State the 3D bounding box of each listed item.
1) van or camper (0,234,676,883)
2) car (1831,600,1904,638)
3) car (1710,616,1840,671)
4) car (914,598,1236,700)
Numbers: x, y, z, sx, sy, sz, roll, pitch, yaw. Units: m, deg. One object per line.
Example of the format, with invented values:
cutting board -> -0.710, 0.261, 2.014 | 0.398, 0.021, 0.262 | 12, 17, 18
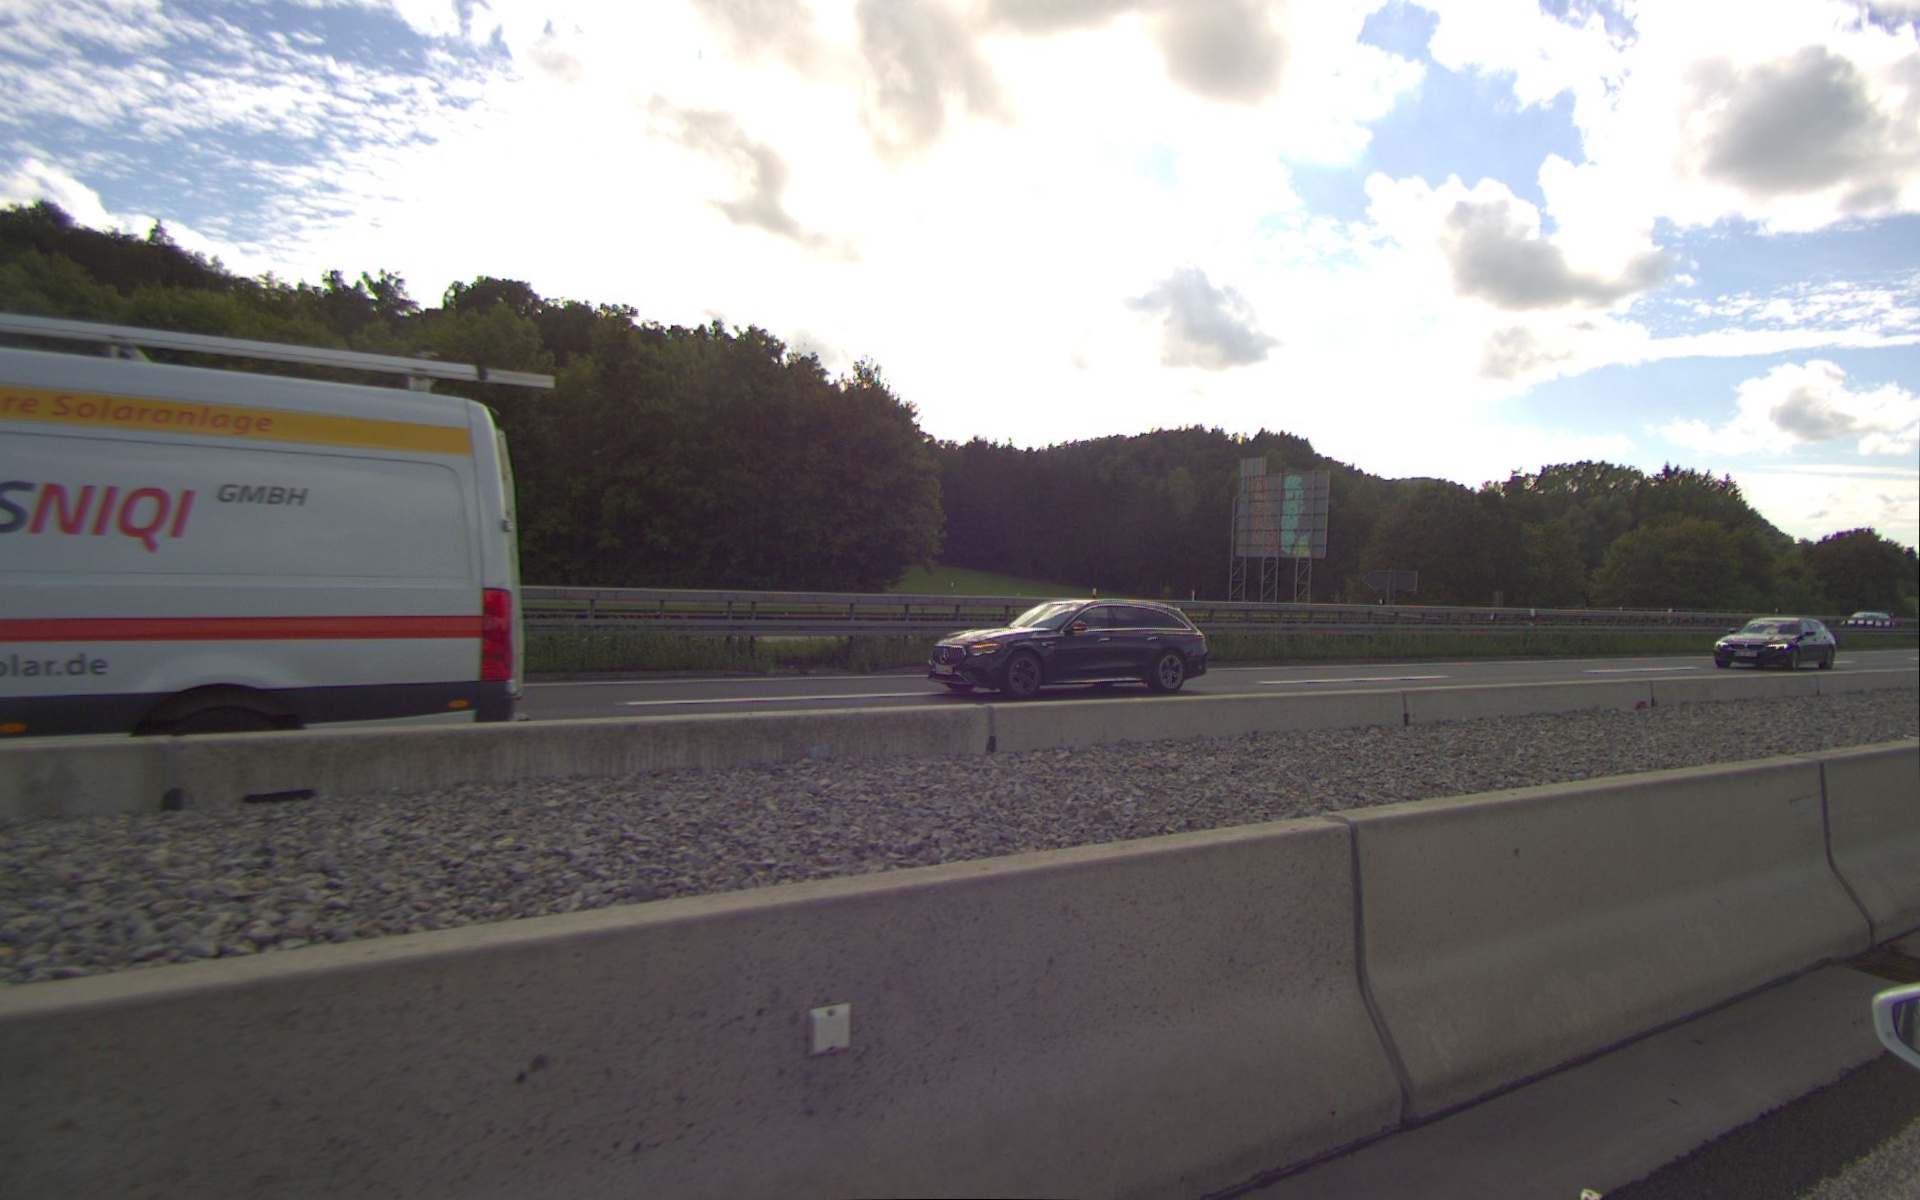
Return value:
van or camper -> -5.748, -0.237, 5.692 | 7.377, 2.956, 3.319 | 1, 1, -30
car -> 57.281, 1.209, 63.369 | 5.088, 2.263, 1.983 | 1, 1, -31
car -> 23.710, 1.221, 29.173 | 4.950, 1.436, 1.772 | 1, 1, -37
car -> 1.962, 0.748, 16.312 | 5.178, 1.440, 1.873 | 1, -1, -32
